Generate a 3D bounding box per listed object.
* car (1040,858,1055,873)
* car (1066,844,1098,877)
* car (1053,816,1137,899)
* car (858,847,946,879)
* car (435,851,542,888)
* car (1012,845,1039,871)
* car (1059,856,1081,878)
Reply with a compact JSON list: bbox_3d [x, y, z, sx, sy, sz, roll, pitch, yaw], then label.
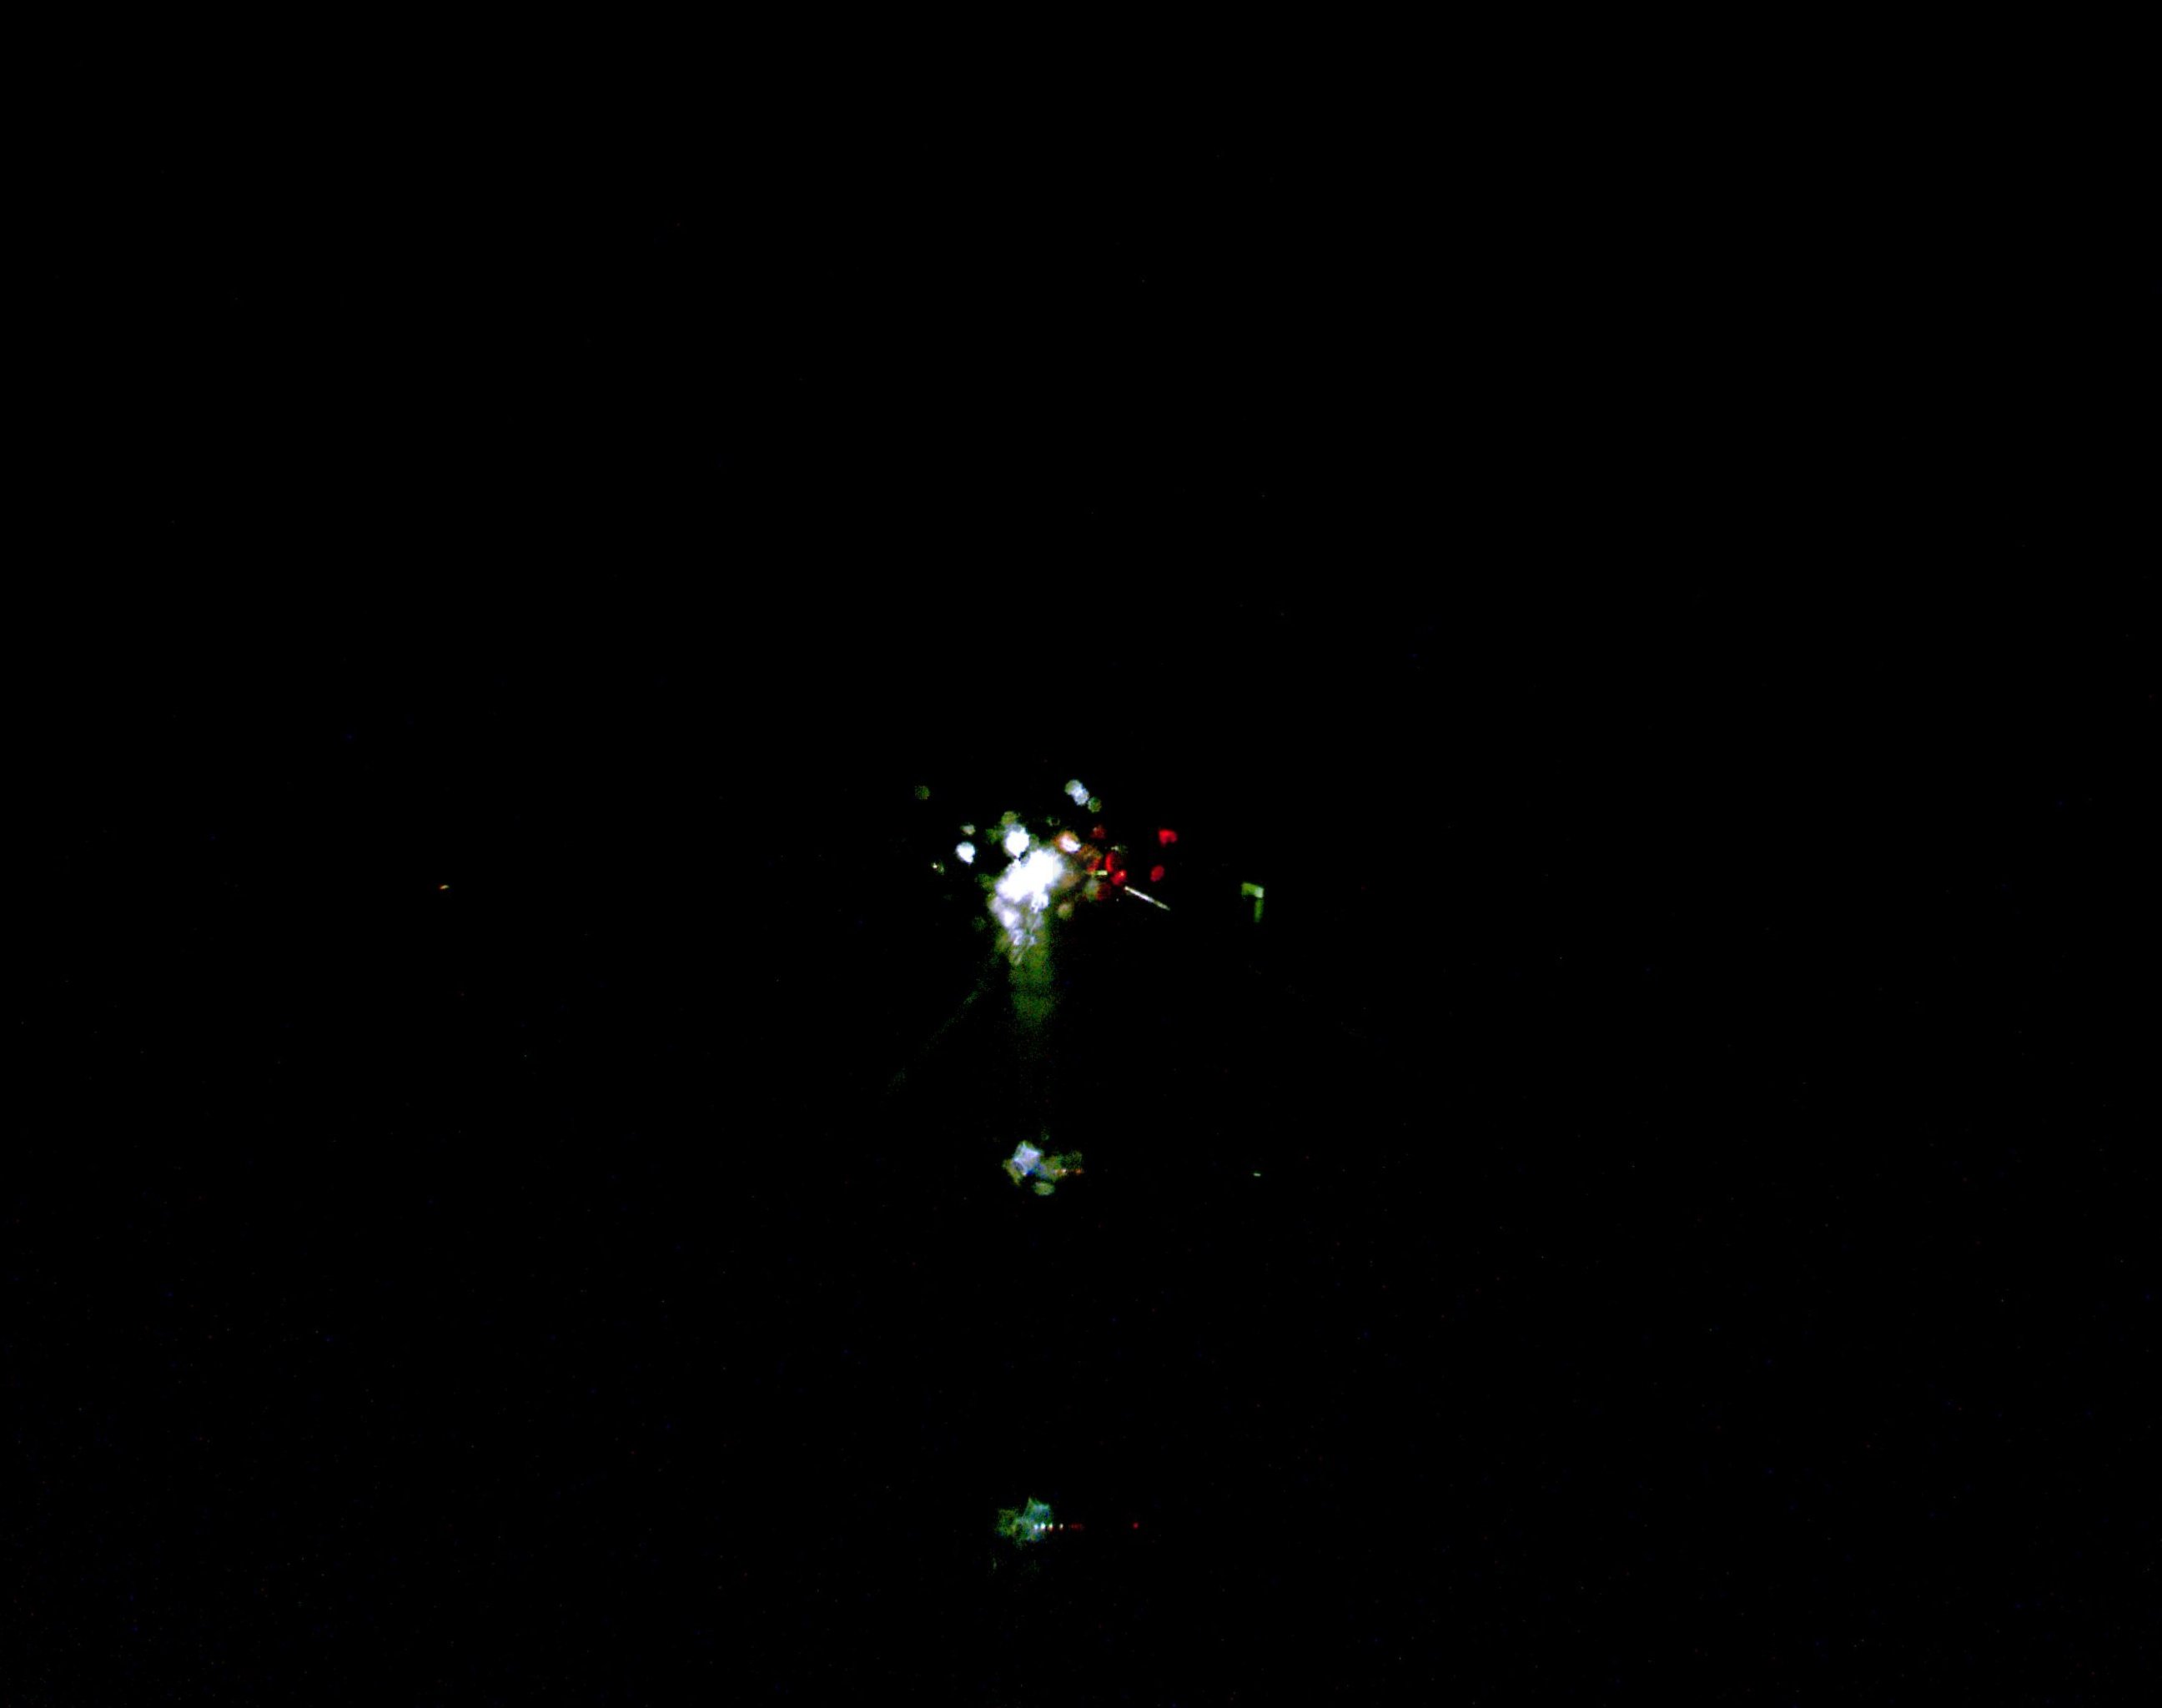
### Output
[{"bbox_3d":[-4.441,1.478,107.715,1.887,1.910,3.791,2,-1,-3],"label":"car"},{"bbox_3d":[0.031,0.473,54.944,1.988,2.014,3.996,2,-3,-2],"label":"car"},{"bbox_3d":[0.353,0.099,27.920,2.532,2.498,5.711,-1,0,-2],"label":"car"},{"bbox_3d":[-10.717,0.533,49.054,4.902,1.734,1.997,-1,0,-4],"label":"car"},{"bbox_3d":[-30.375,0.791,41.833,1.672,1.687,4.189,-4,-2,43],"label":"car"},{"bbox_3d":[-3.916,0.241,58.207,1.749,1.734,3.997,2,1,-2],"label":"car"},{"bbox_3d":[-0.940,1.130,70.558,1.735,1.714,3.698,1,-3,0],"label":"car"}]
